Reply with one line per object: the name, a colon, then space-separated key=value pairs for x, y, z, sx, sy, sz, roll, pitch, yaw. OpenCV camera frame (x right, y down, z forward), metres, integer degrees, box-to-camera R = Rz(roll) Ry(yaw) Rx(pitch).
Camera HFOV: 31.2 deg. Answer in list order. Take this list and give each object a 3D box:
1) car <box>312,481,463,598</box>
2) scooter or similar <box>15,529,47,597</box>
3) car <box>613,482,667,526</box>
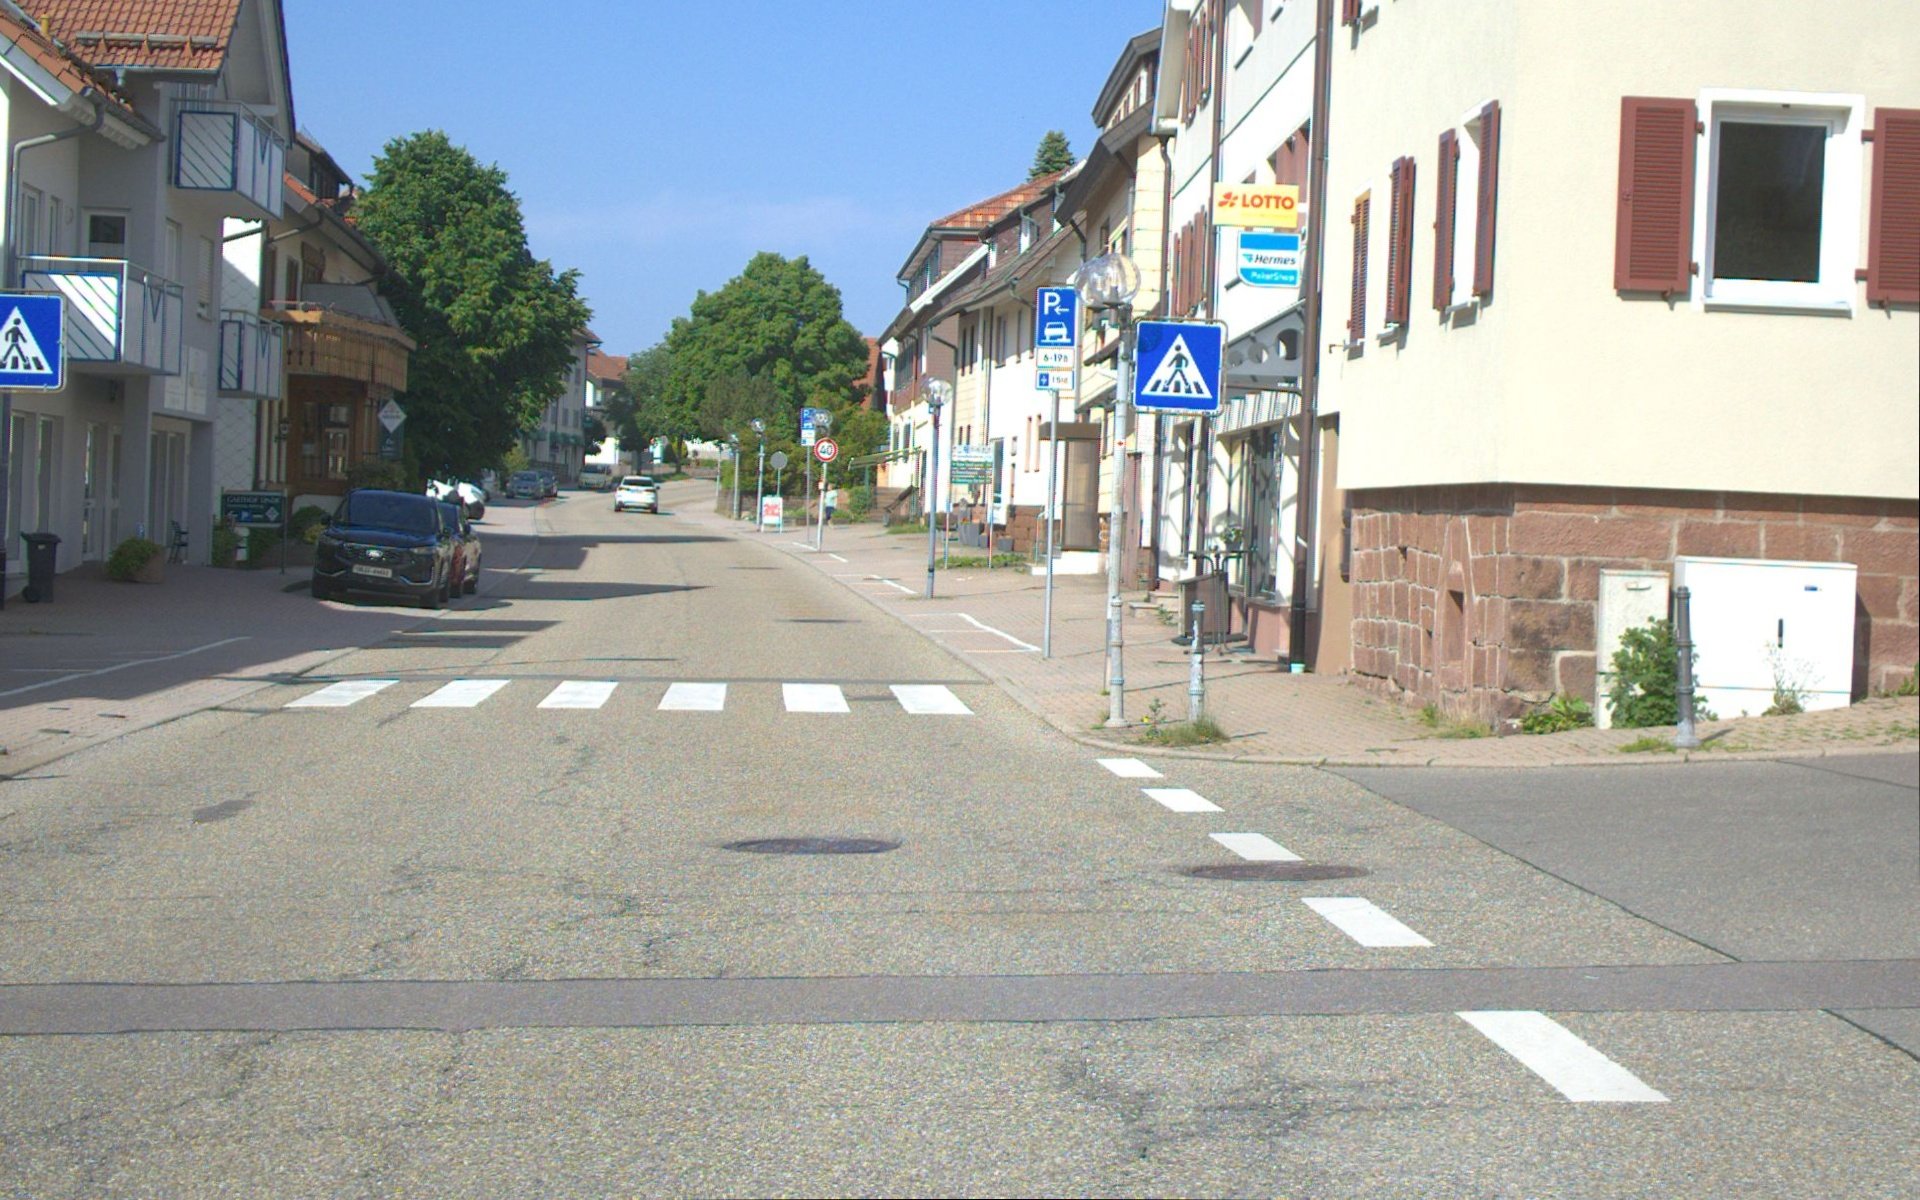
car: x=-8.546 y=-0.923 z=51.522 sx=1.672 sy=1.528 sz=3.536 roll=5 pitch=1 yaw=-2
scooter or similar: x=-12.353 y=-0.493 z=45.719 sx=0.351 sy=0.887 sz=0.395 roll=-1 pitch=1 yaw=-8
car: x=-15.119 y=-4.536 z=162.554 sx=2.495 sy=2.007 sz=4.305 roll=-1 pitch=1 yaw=-5
